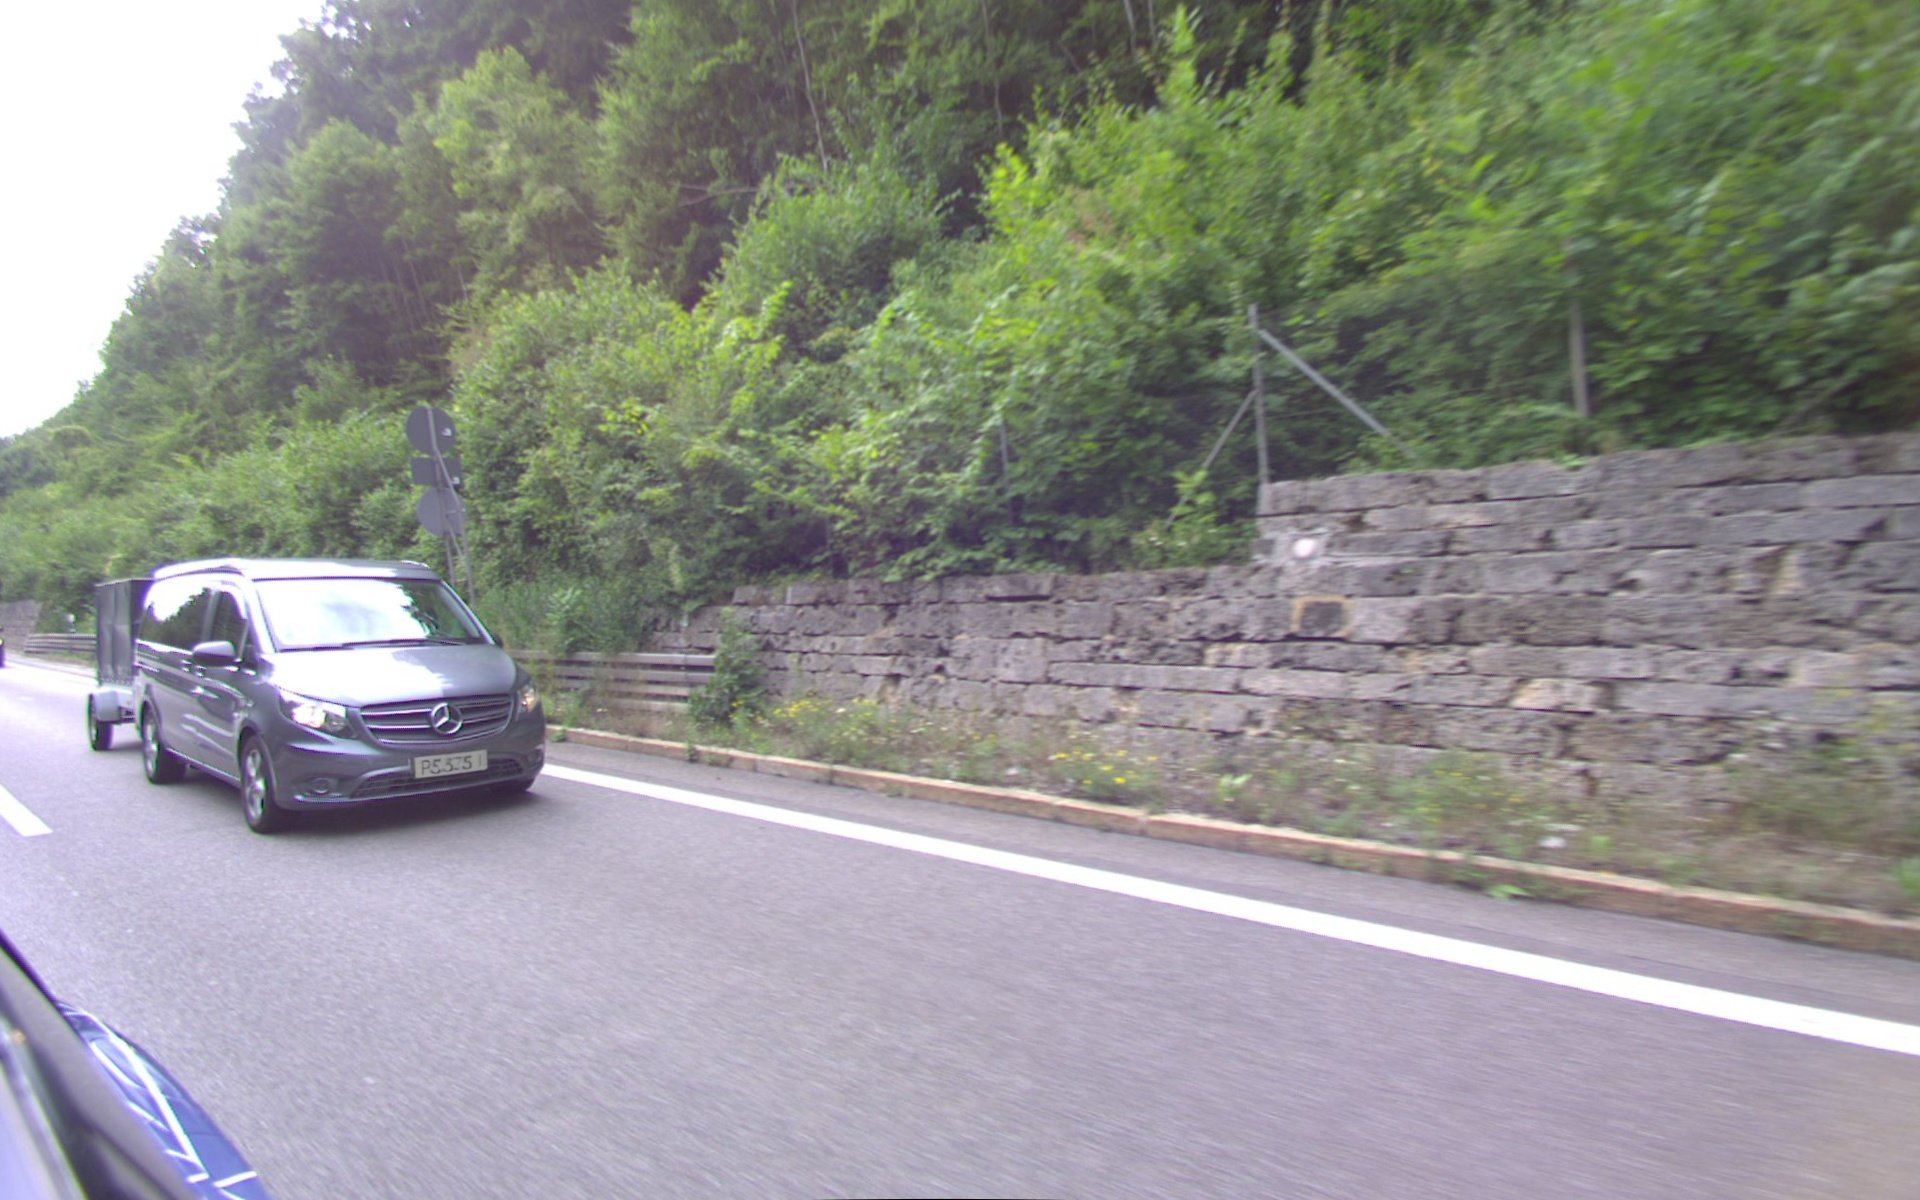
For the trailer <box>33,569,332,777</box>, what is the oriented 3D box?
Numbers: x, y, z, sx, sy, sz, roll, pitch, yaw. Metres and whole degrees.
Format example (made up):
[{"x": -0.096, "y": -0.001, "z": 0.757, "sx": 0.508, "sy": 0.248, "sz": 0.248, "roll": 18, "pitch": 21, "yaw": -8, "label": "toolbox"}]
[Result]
[{"x": -8.810, "y": 0.755, "z": 11.407, "sx": 3.427, "sy": 1.954, "sz": 1.951, "roll": -2, "pitch": -3, "yaw": 40, "label": "trailer"}]

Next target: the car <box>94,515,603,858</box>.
[{"x": -5.411, "y": 0.607, "z": 8.545, "sx": 5.535, "sy": 2.029, "sz": 1.973, "roll": -2, "pitch": -3, "yaw": 40, "label": "car"}]
